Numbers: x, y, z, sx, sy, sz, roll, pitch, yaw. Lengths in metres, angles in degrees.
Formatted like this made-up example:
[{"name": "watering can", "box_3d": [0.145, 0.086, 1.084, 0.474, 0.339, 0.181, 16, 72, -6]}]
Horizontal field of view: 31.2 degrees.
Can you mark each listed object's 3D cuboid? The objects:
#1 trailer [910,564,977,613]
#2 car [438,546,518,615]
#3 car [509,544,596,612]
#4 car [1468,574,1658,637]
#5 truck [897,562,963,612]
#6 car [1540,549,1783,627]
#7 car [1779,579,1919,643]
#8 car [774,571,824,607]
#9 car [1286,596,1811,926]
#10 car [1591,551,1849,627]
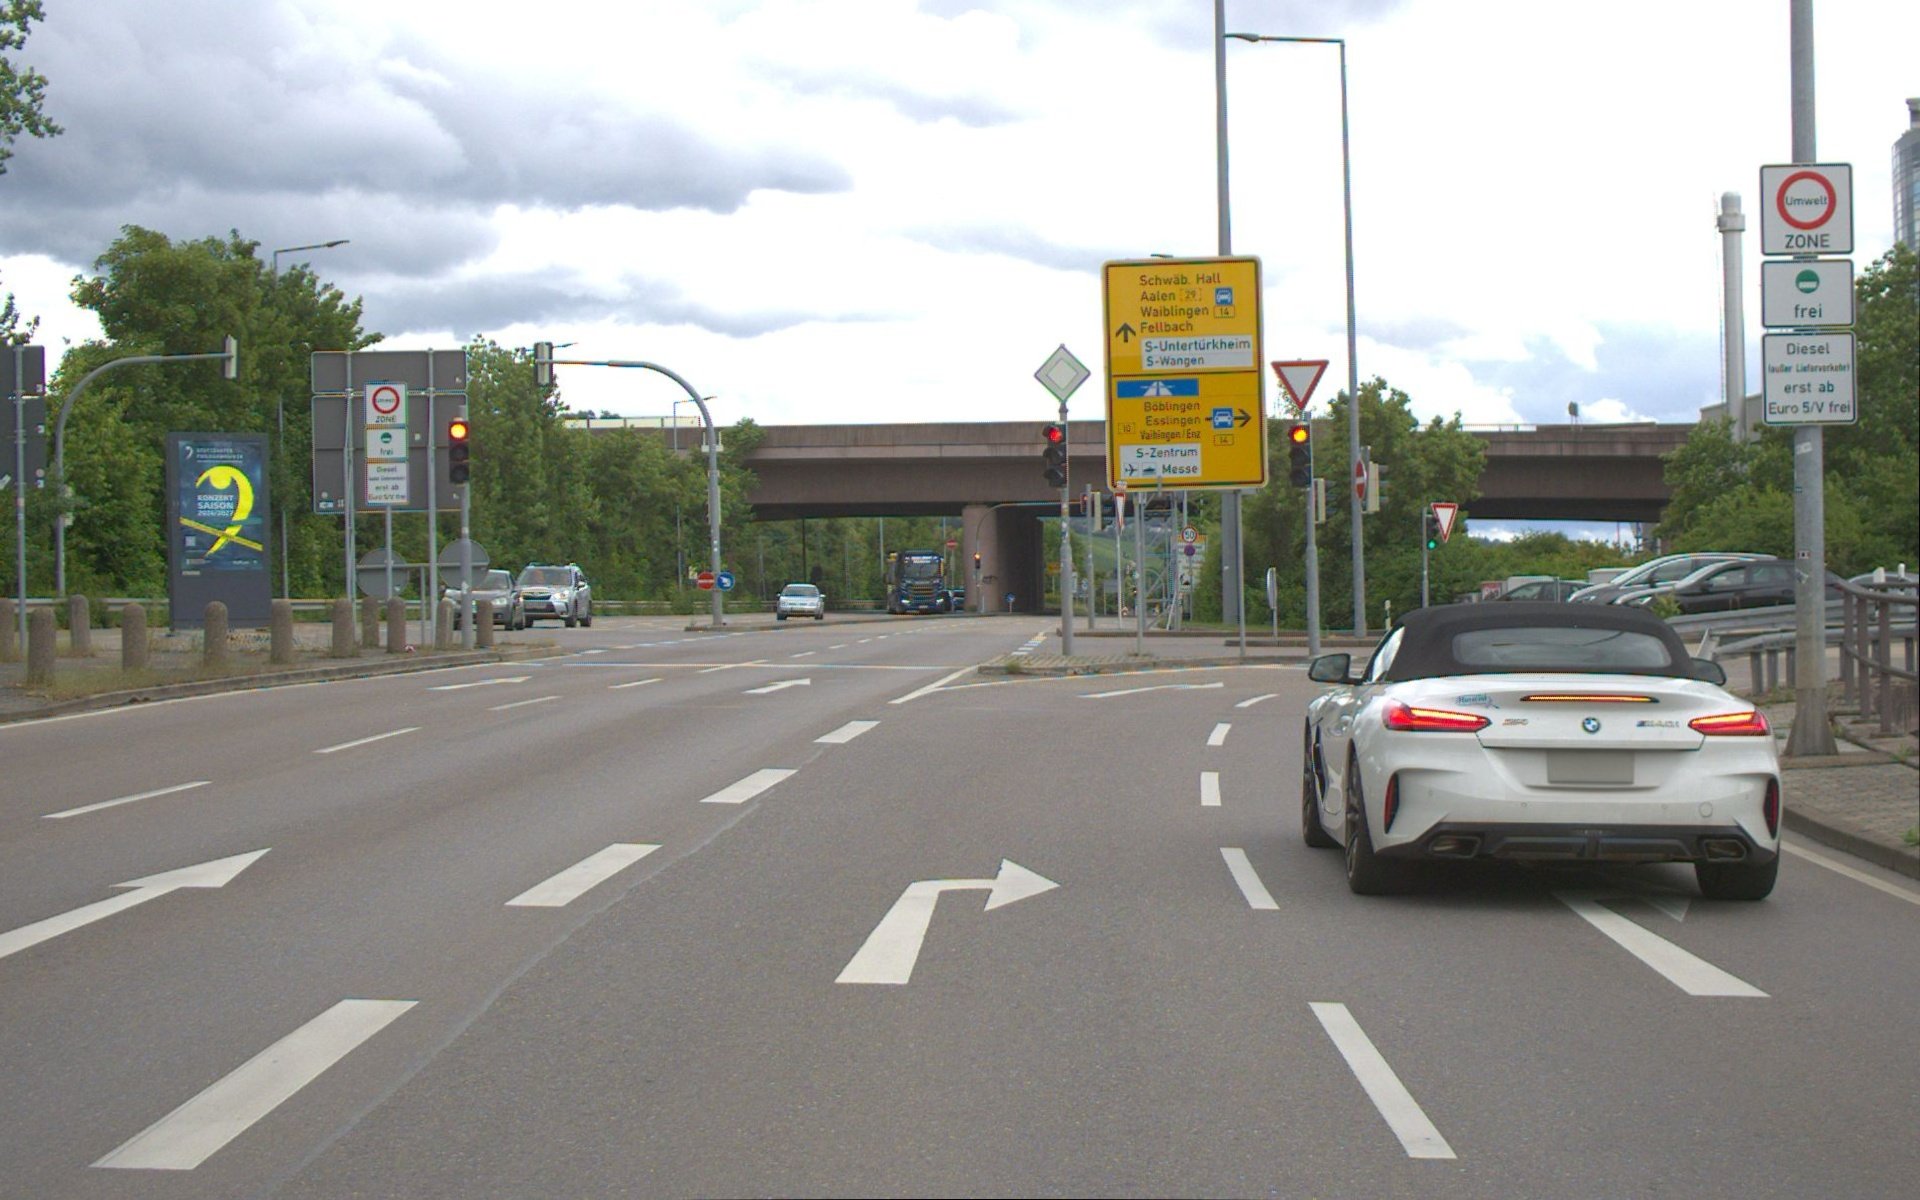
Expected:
[{"name": "trailer", "box_3d": [-0.931, -0.687, 199.235, 2.602, 2.615, 8.567, 4, 1, 7]}, {"name": "car", "box_3d": [-11.439, -0.440, 81.818, 1.724, 1.457, 4.244, 2, -2, -6]}, {"name": "car", "box_3d": [-10.681, -0.582, 90.349, 1.724, 1.731, 4.556, -1, 1, 0]}, {"name": "car", "box_3d": [14.621, 0.140, 83.336, 4.103, 1.459, 1.997, 0, -2, 29]}, {"name": "truck", "box_3d": [-1.652, -0.725, 193.838, 2.613, 2.615, 5.777, 4, 1, 10]}, {"name": "car", "box_3d": [14.545, -0.257, 71.456, 4.678, 1.566, 1.956, 0, 1, 1]}, {"name": "car", "box_3d": [21.300, 0.265, 79.934, 4.102, 1.437, 1.997, 0, -2, 24]}, {"name": "car", "box_3d": [-6.477, -0.443, 138.863, 1.724, 1.396, 4.066, -1, 1, 1]}, {"name": "car", "box_3d": [2.648, 0.667, 16.429, 1.805, 1.287, 4.263, 1, 1, 1]}, {"name": "car", "box_3d": [14.926, -0.230, 67.680, 4.605, 1.452, 1.956, 0, 1, -2]}]
